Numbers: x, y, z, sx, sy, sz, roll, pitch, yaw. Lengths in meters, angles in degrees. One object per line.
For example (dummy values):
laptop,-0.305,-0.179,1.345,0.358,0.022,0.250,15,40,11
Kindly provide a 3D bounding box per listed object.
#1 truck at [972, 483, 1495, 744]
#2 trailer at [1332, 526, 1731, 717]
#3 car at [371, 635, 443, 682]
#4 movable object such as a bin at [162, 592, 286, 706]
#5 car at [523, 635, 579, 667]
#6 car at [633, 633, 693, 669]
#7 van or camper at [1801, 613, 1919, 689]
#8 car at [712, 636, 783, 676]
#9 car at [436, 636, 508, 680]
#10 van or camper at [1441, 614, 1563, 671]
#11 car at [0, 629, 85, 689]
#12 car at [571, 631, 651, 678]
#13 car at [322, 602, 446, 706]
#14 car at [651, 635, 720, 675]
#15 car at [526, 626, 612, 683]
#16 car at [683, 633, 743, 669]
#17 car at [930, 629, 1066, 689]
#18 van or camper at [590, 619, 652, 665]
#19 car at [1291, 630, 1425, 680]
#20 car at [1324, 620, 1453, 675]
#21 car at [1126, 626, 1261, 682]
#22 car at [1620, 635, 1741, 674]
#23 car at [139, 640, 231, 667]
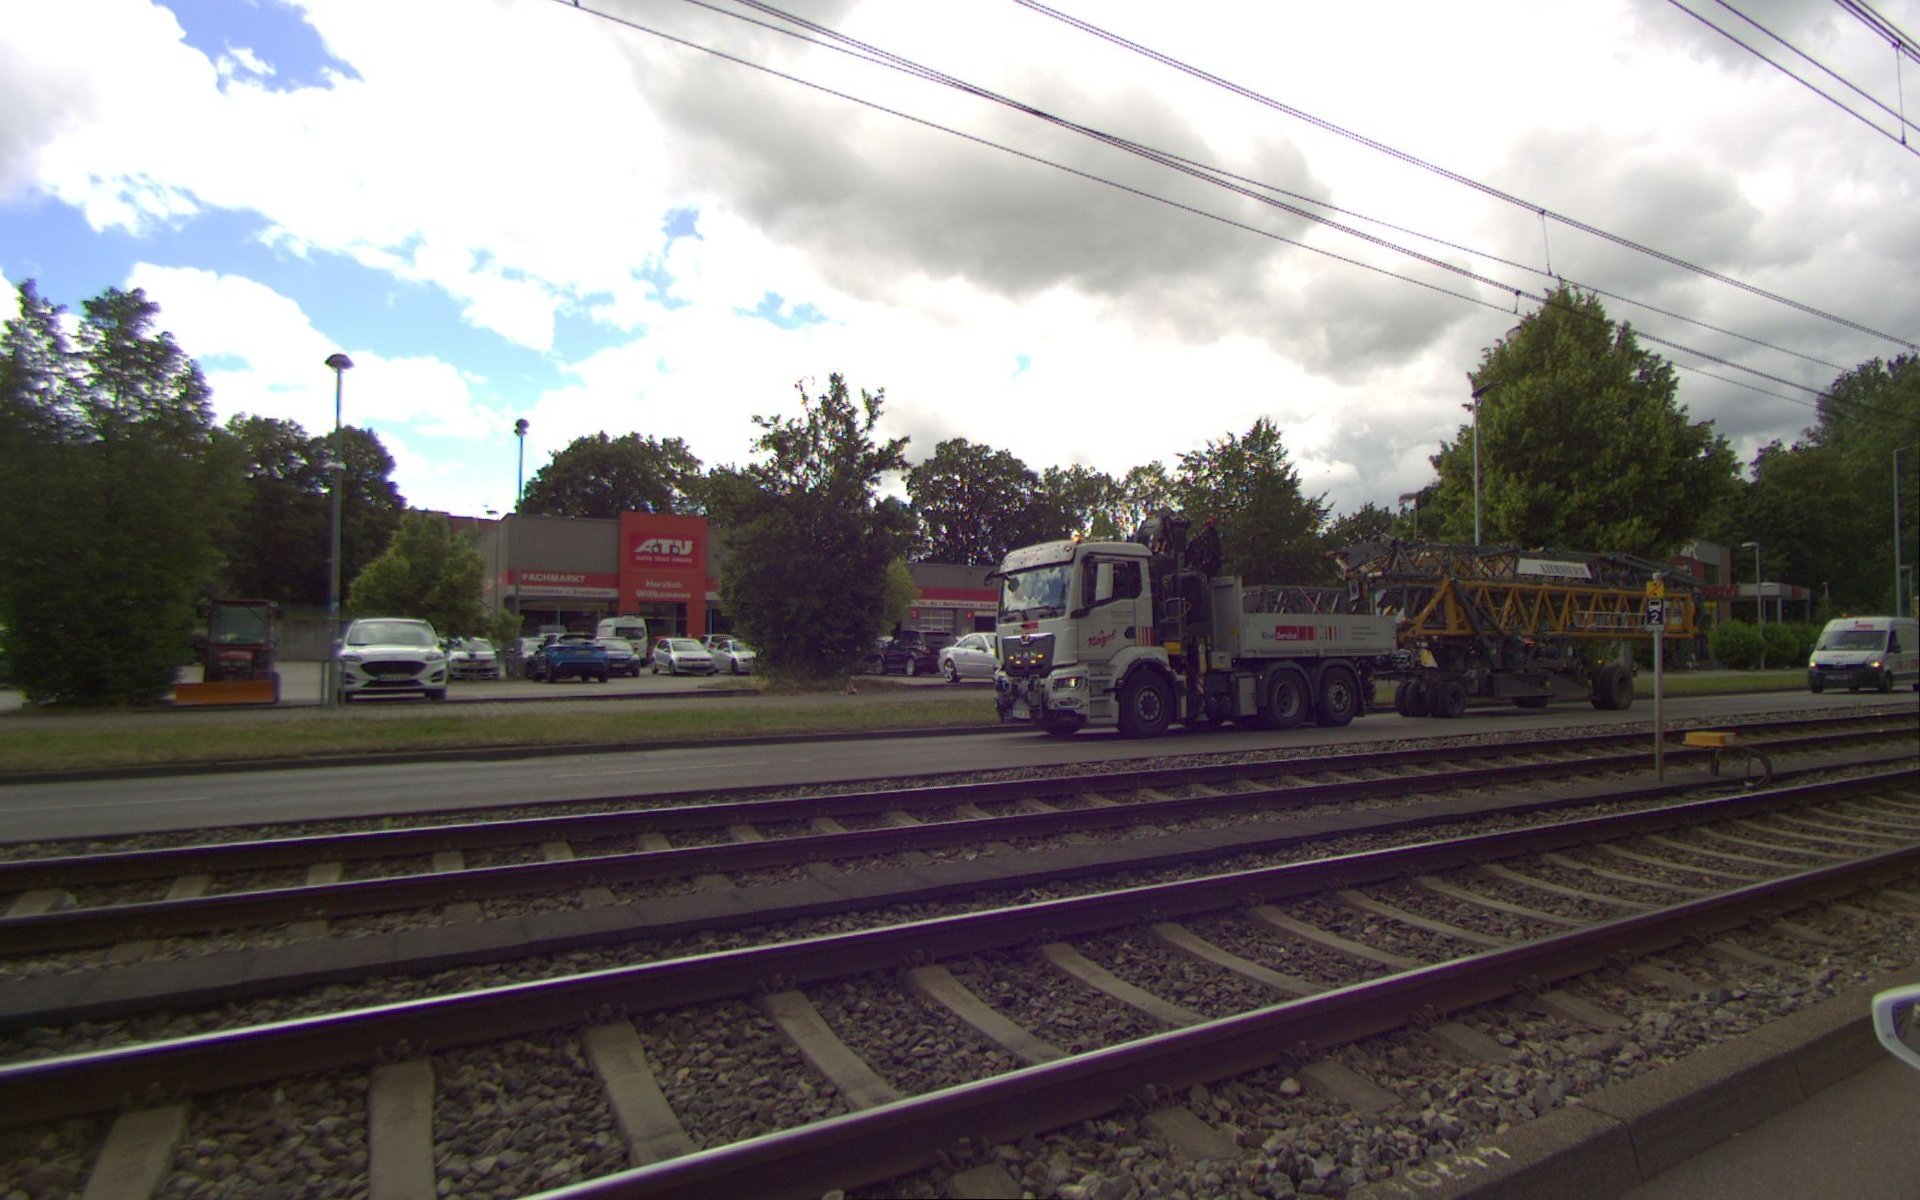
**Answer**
truck,5.510,0.359,18.476,10.993,3.711,2.691,2,-3,-33
trailer,14.299,0.619,24.283,13.157,3.708,2.689,2,-3,-34
car,-18.656,1.931,33.849,1.664,1.491,3.716,2,-3,-36
movable object such as a bin,-14.127,0.940,19.460,1.661,1.962,3.964,1,-3,-33
car,-19.575,2.423,48.001,1.664,1.491,3.716,2,-3,-36
car,-15.272,2.584,51.534,1.803,1.762,3.963,1,-3,-34
van or camper,30.905,1.724,34.277,5.708,2.385,1.981,2,-3,-35
car,-8.649,2.227,40.637,1.663,1.527,3.934,1,-3,-30
car,-17.408,2.028,35.762,1.664,1.491,3.716,2,-3,-36
van or camper,21.891,1.688,40.722,1.859,2.163,3.962,1,-1,-34
car,-27.330,1.700,29.515,1.668,1.661,3.903,1,-3,-30
car,-13.401,2.075,38.446,1.716,1.699,4.193,2,-3,-37
car,-11.463,1.039,19.870,1.859,1.821,3.963,1,-3,-34
car,-10.907,2.148,39.693,1.663,1.527,3.934,1,-3,-30
car,-12.675,1.725,32.398,1.917,1.706,4.265,1,-3,-30
car,-12.827,2.638,52.022,1.803,1.762,3.963,1,-3,-34
car,0.947,1.554,27.437,1.661,1.491,4.284,1,-2,-31
van or camper,-16.593,2.058,49.009,1.803,2.173,4.235,1,-3,-34
car,13.663,1.872,34.649,1.859,1.620,3.963,1,-3,-34
car,15.491,1.675,36.452,1.859,1.821,3.962,1,-1,-34
car,7.263,1.671,31.585,1.859,1.620,3.963,1,-3,-34
car,31.746,2.387,44.356,1.778,1.620,3.963,1,-3,-34
car,-39.901,2.762,51.801,3.547,1.351,1.464,1,-3,-30
